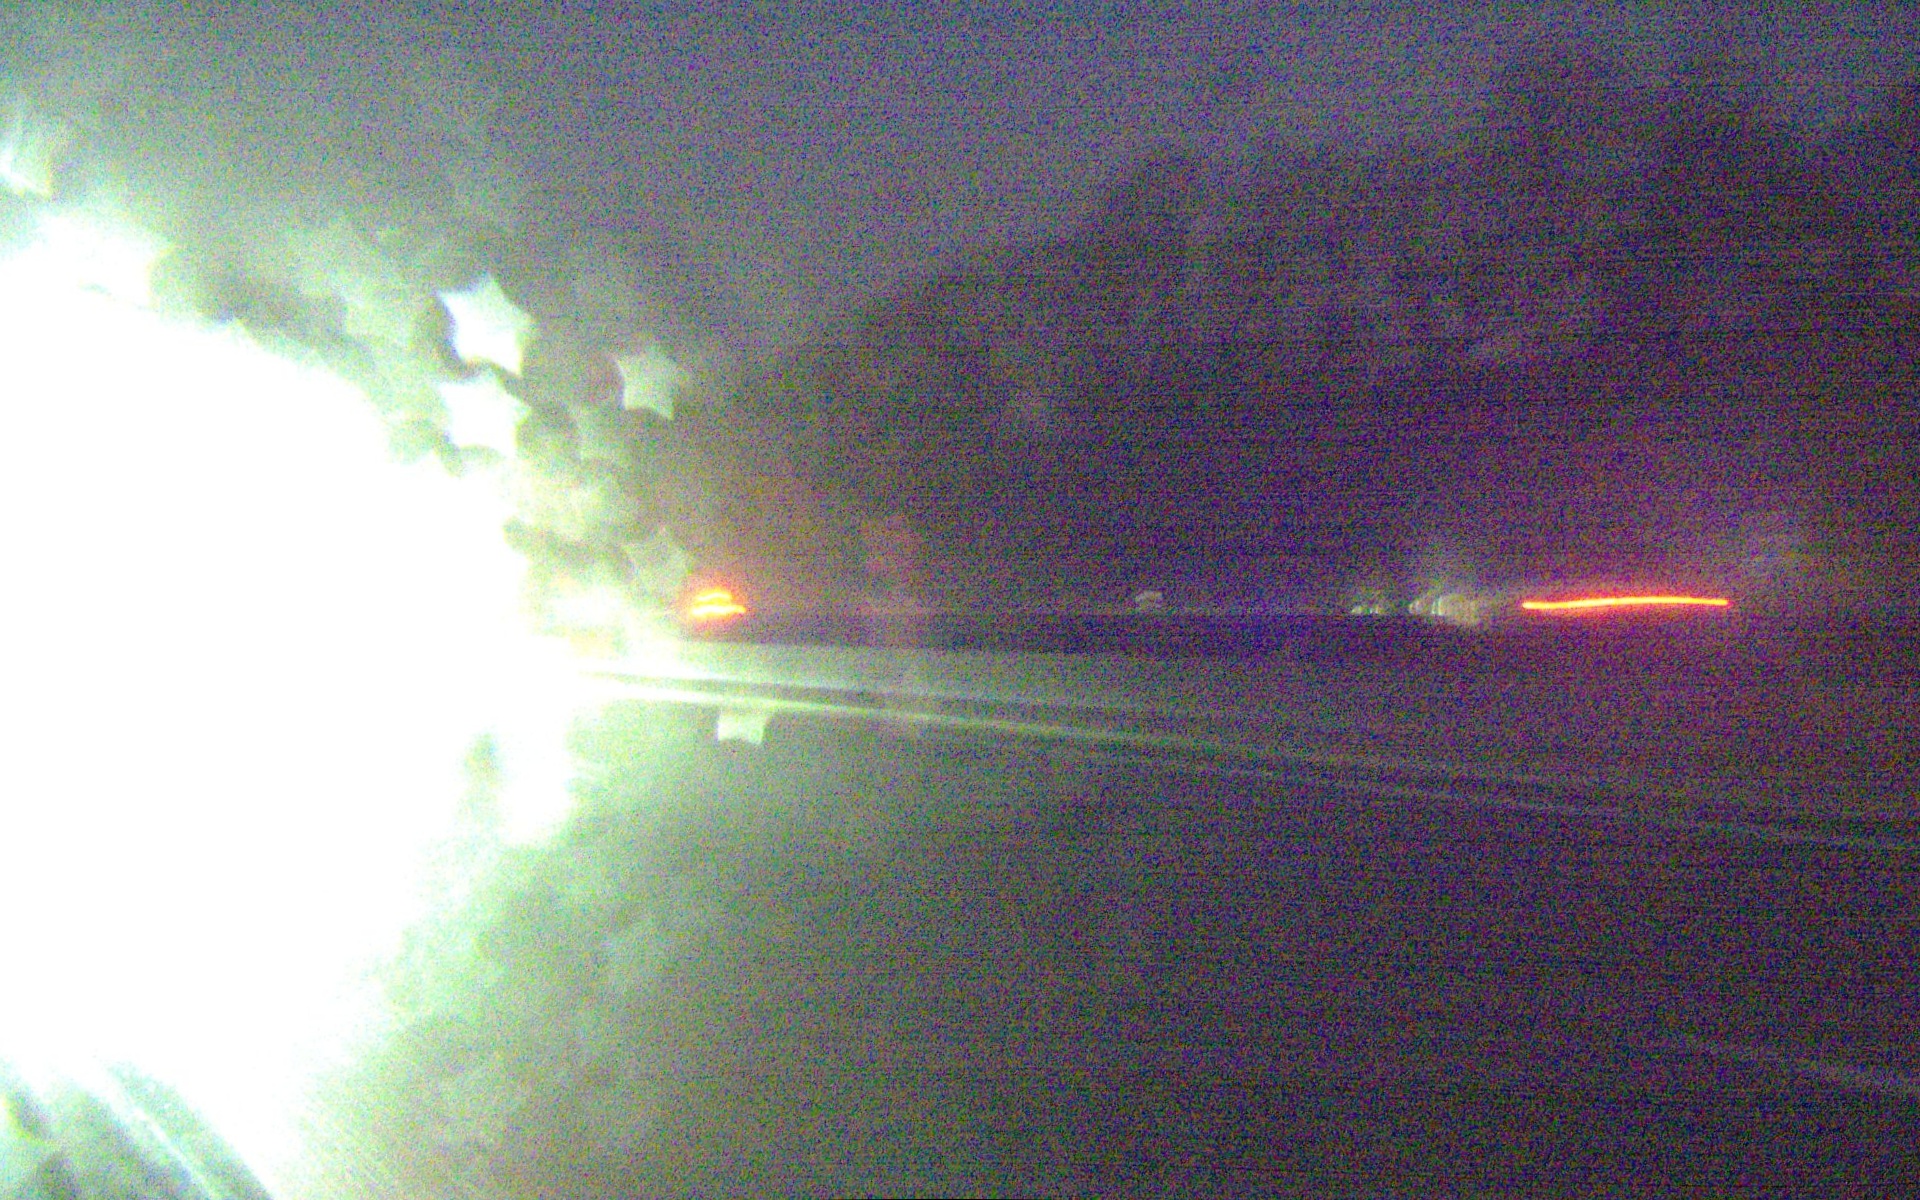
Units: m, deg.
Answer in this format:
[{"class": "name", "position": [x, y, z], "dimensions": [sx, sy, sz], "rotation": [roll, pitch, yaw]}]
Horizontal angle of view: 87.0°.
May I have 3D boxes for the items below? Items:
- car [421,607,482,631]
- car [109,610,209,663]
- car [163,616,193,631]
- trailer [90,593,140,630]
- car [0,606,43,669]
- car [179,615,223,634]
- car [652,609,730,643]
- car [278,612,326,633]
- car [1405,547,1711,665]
[{"class": "car", "position": [-33.498, 1.253, 66.604], "dimensions": [5.036, 1.475, 1.769], "rotation": [-1, 1, 41]}, {"class": "car", "position": [-26.847, 1.154, 33.892], "dimensions": [2.277, 1.621, 3.874], "rotation": [-1, 0, -44]}, {"class": "car", "position": [-83.320, 2.462, 107.788], "dimensions": [4.299, 1.475, 1.859], "rotation": [0, 2, 44]}, {"class": "trailer", "position": [-128.747, 1.792, 154.236], "dimensions": [8.993, 5.178, 4.295], "rotation": [-1, 3, 42]}, {"class": "car", "position": [-27.177, 1.015, 28.472], "dimensions": [1.970, 1.689, 4.004], "rotation": [0, 0, -43]}, {"class": "car", "position": [-60.476, 1.940, 80.604], "dimensions": [3.997, 1.475, 1.952], "rotation": [0, 0, 40]}, {"class": "car", "position": [-12.489, 1.158, 46.880], "dimensions": [4.001, 1.475, 1.689], "rotation": [0, 0, 44]}, {"class": "car", "position": [-50.060, 1.656, 76.952], "dimensions": [3.997, 1.475, 1.941], "rotation": [-1, 1, 40]}, {"class": "car", "position": [9.560, 0.074, 16.336], "dimensions": [3.997, 1.674, 1.815], "rotation": [-1, 1, 40]}]
